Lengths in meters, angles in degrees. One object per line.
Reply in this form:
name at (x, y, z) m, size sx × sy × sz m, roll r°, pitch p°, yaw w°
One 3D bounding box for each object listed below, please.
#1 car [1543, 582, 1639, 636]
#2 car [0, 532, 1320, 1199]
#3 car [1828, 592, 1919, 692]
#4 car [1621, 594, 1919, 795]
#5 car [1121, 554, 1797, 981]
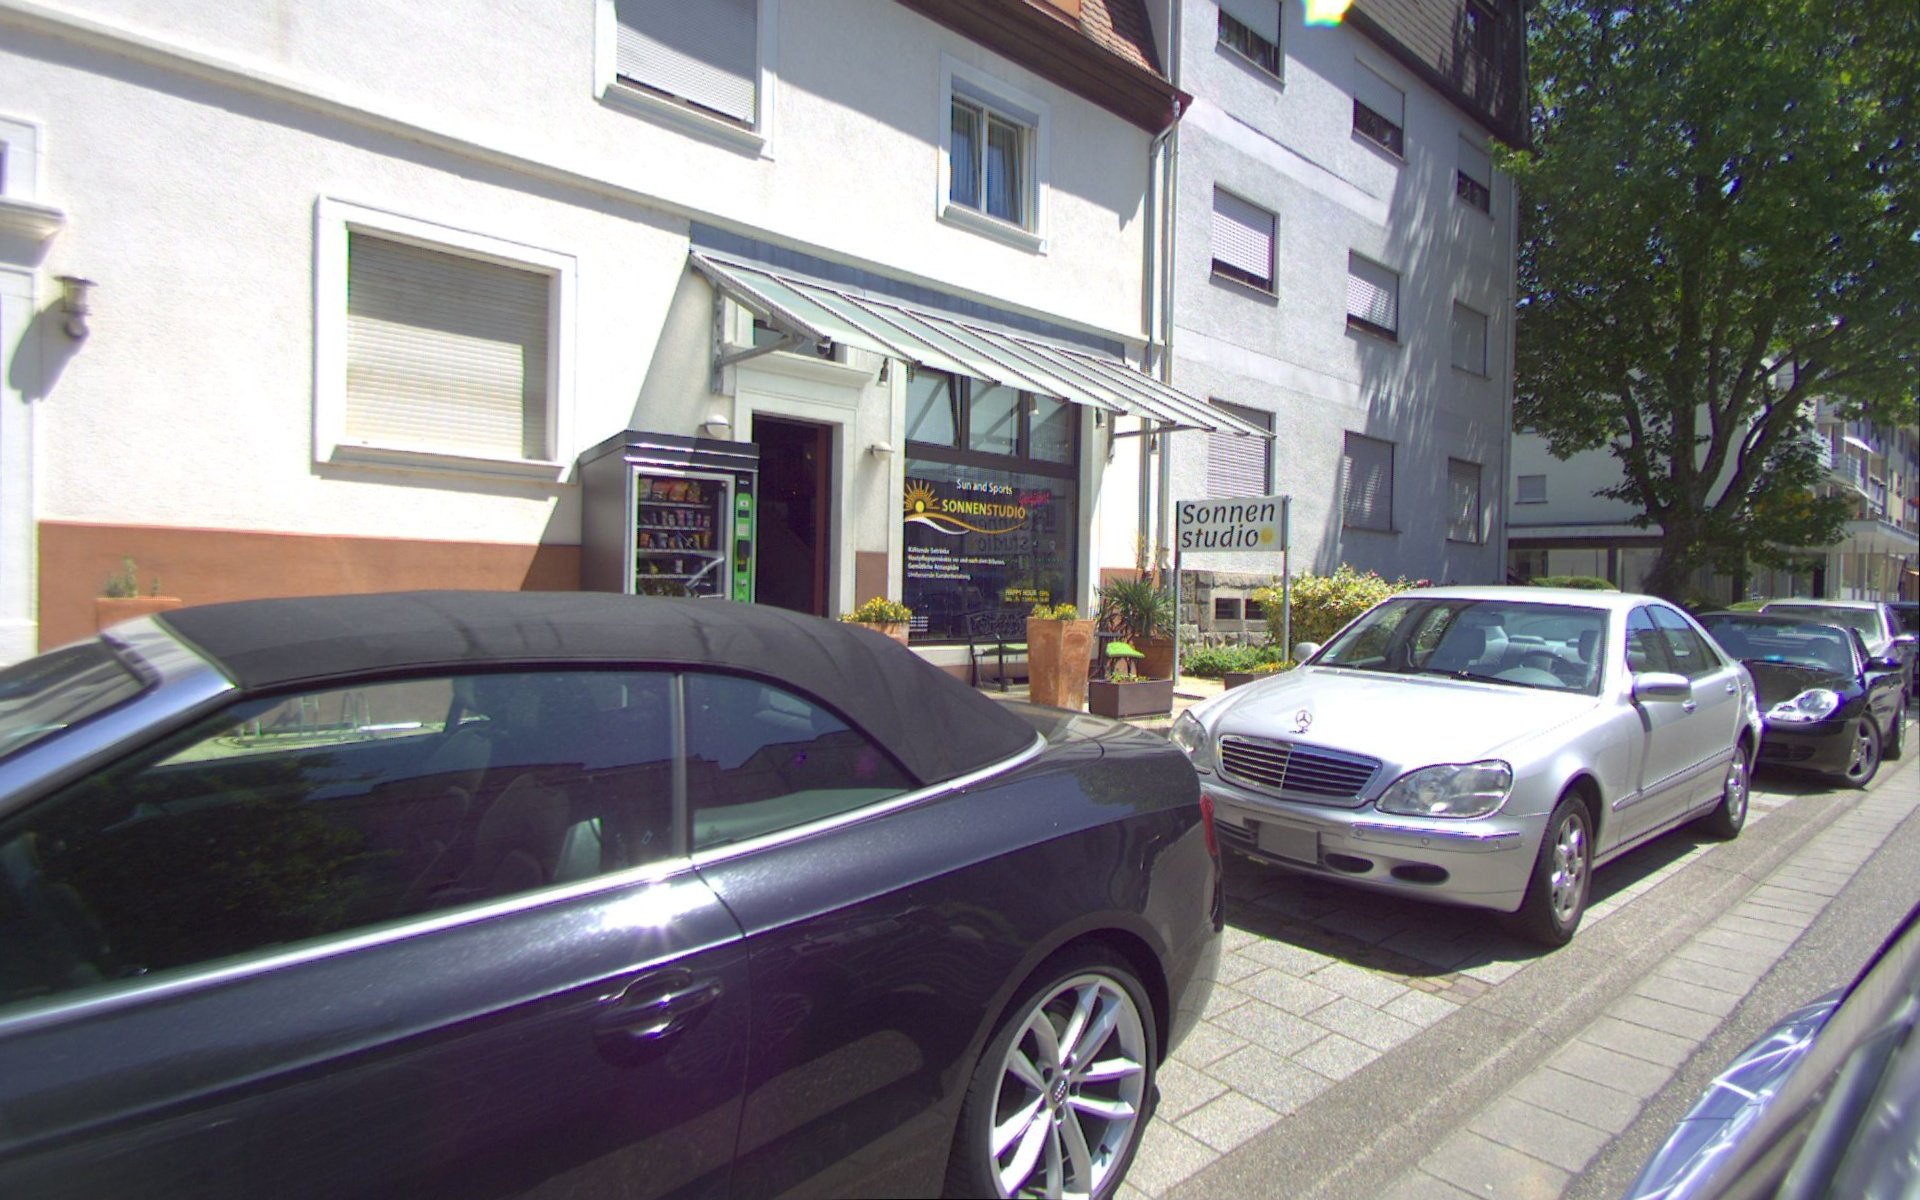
car at (19.495, 0.232, 31.406) m, size 1.715 × 1.518 × 3.443 m, roll 1°, pitch 1°, yaw 18°
car at (-1.390, 0.613, 1.907) m, size 4.618 × 1.444 × 1.831 m, roll 0°, pitch 3°, yaw -41°
car at (16.344, 0.632, 17.178) m, size 4.678 × 1.530 × 1.831 m, roll 0°, pitch -1°, yaw -42°
car at (7.507, 0.659, 9.087) m, size 4.101 × 1.357 × 1.561 m, roll 0°, pitch 2°, yaw -41°
car at (3.176, 0.564, 5.851) m, size 4.767 × 1.486 × 1.748 m, roll 0°, pitch 4°, yaw -41°
